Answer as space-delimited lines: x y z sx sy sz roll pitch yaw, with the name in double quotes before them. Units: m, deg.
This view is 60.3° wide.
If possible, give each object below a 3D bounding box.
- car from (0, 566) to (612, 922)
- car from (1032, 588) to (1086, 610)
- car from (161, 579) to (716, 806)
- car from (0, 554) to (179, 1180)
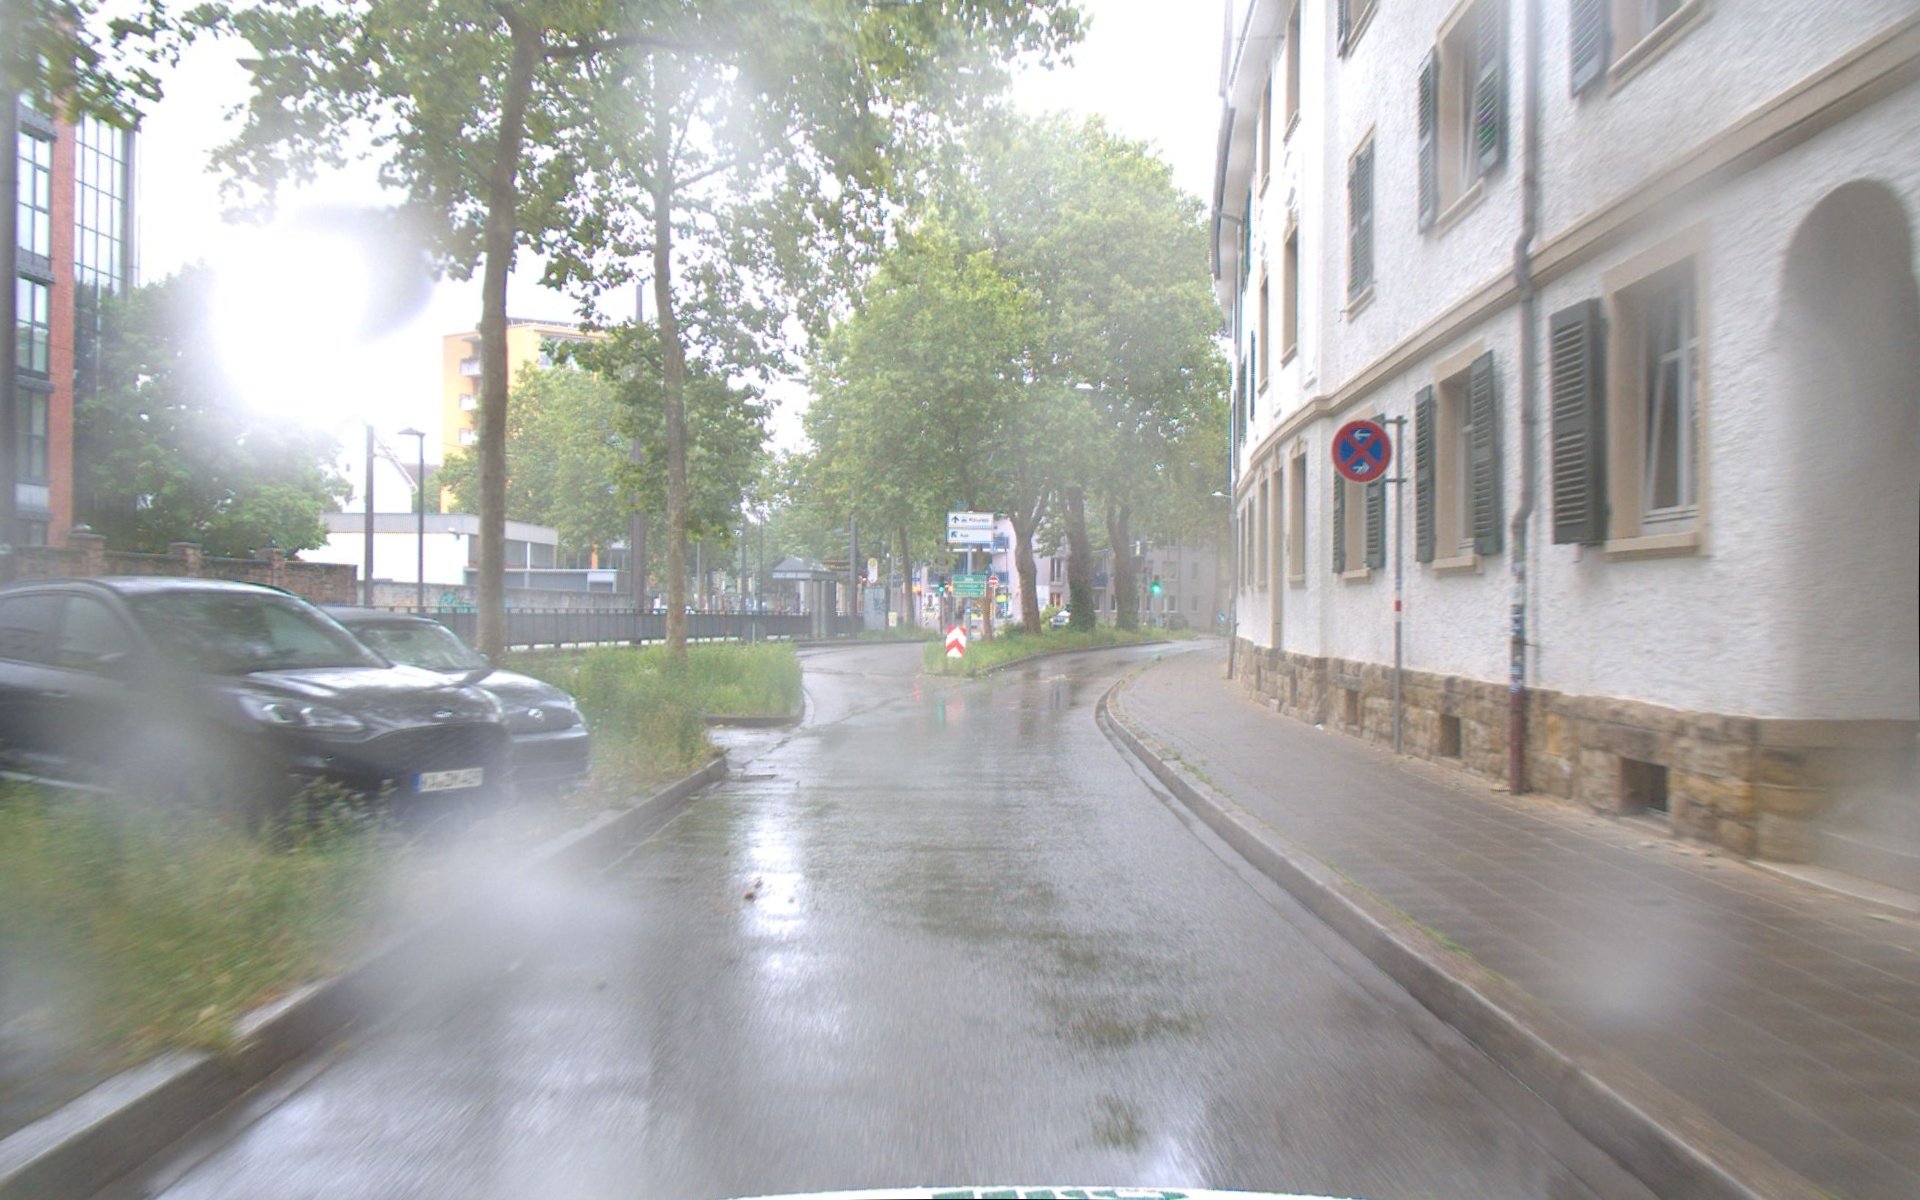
"car" -4.560 0.781 10.340 4.432 1.744 1.958 -2 2 30
"car" 7.668 -0.056 127.751 3.969 1.625 1.968 1 -1 -44
"car" -4.357 0.713 13.718 4.269 1.538 1.958 -2 2 30
"car" -4.542 0.723 4.820 4.461 1.547 1.919 -2 0 31
